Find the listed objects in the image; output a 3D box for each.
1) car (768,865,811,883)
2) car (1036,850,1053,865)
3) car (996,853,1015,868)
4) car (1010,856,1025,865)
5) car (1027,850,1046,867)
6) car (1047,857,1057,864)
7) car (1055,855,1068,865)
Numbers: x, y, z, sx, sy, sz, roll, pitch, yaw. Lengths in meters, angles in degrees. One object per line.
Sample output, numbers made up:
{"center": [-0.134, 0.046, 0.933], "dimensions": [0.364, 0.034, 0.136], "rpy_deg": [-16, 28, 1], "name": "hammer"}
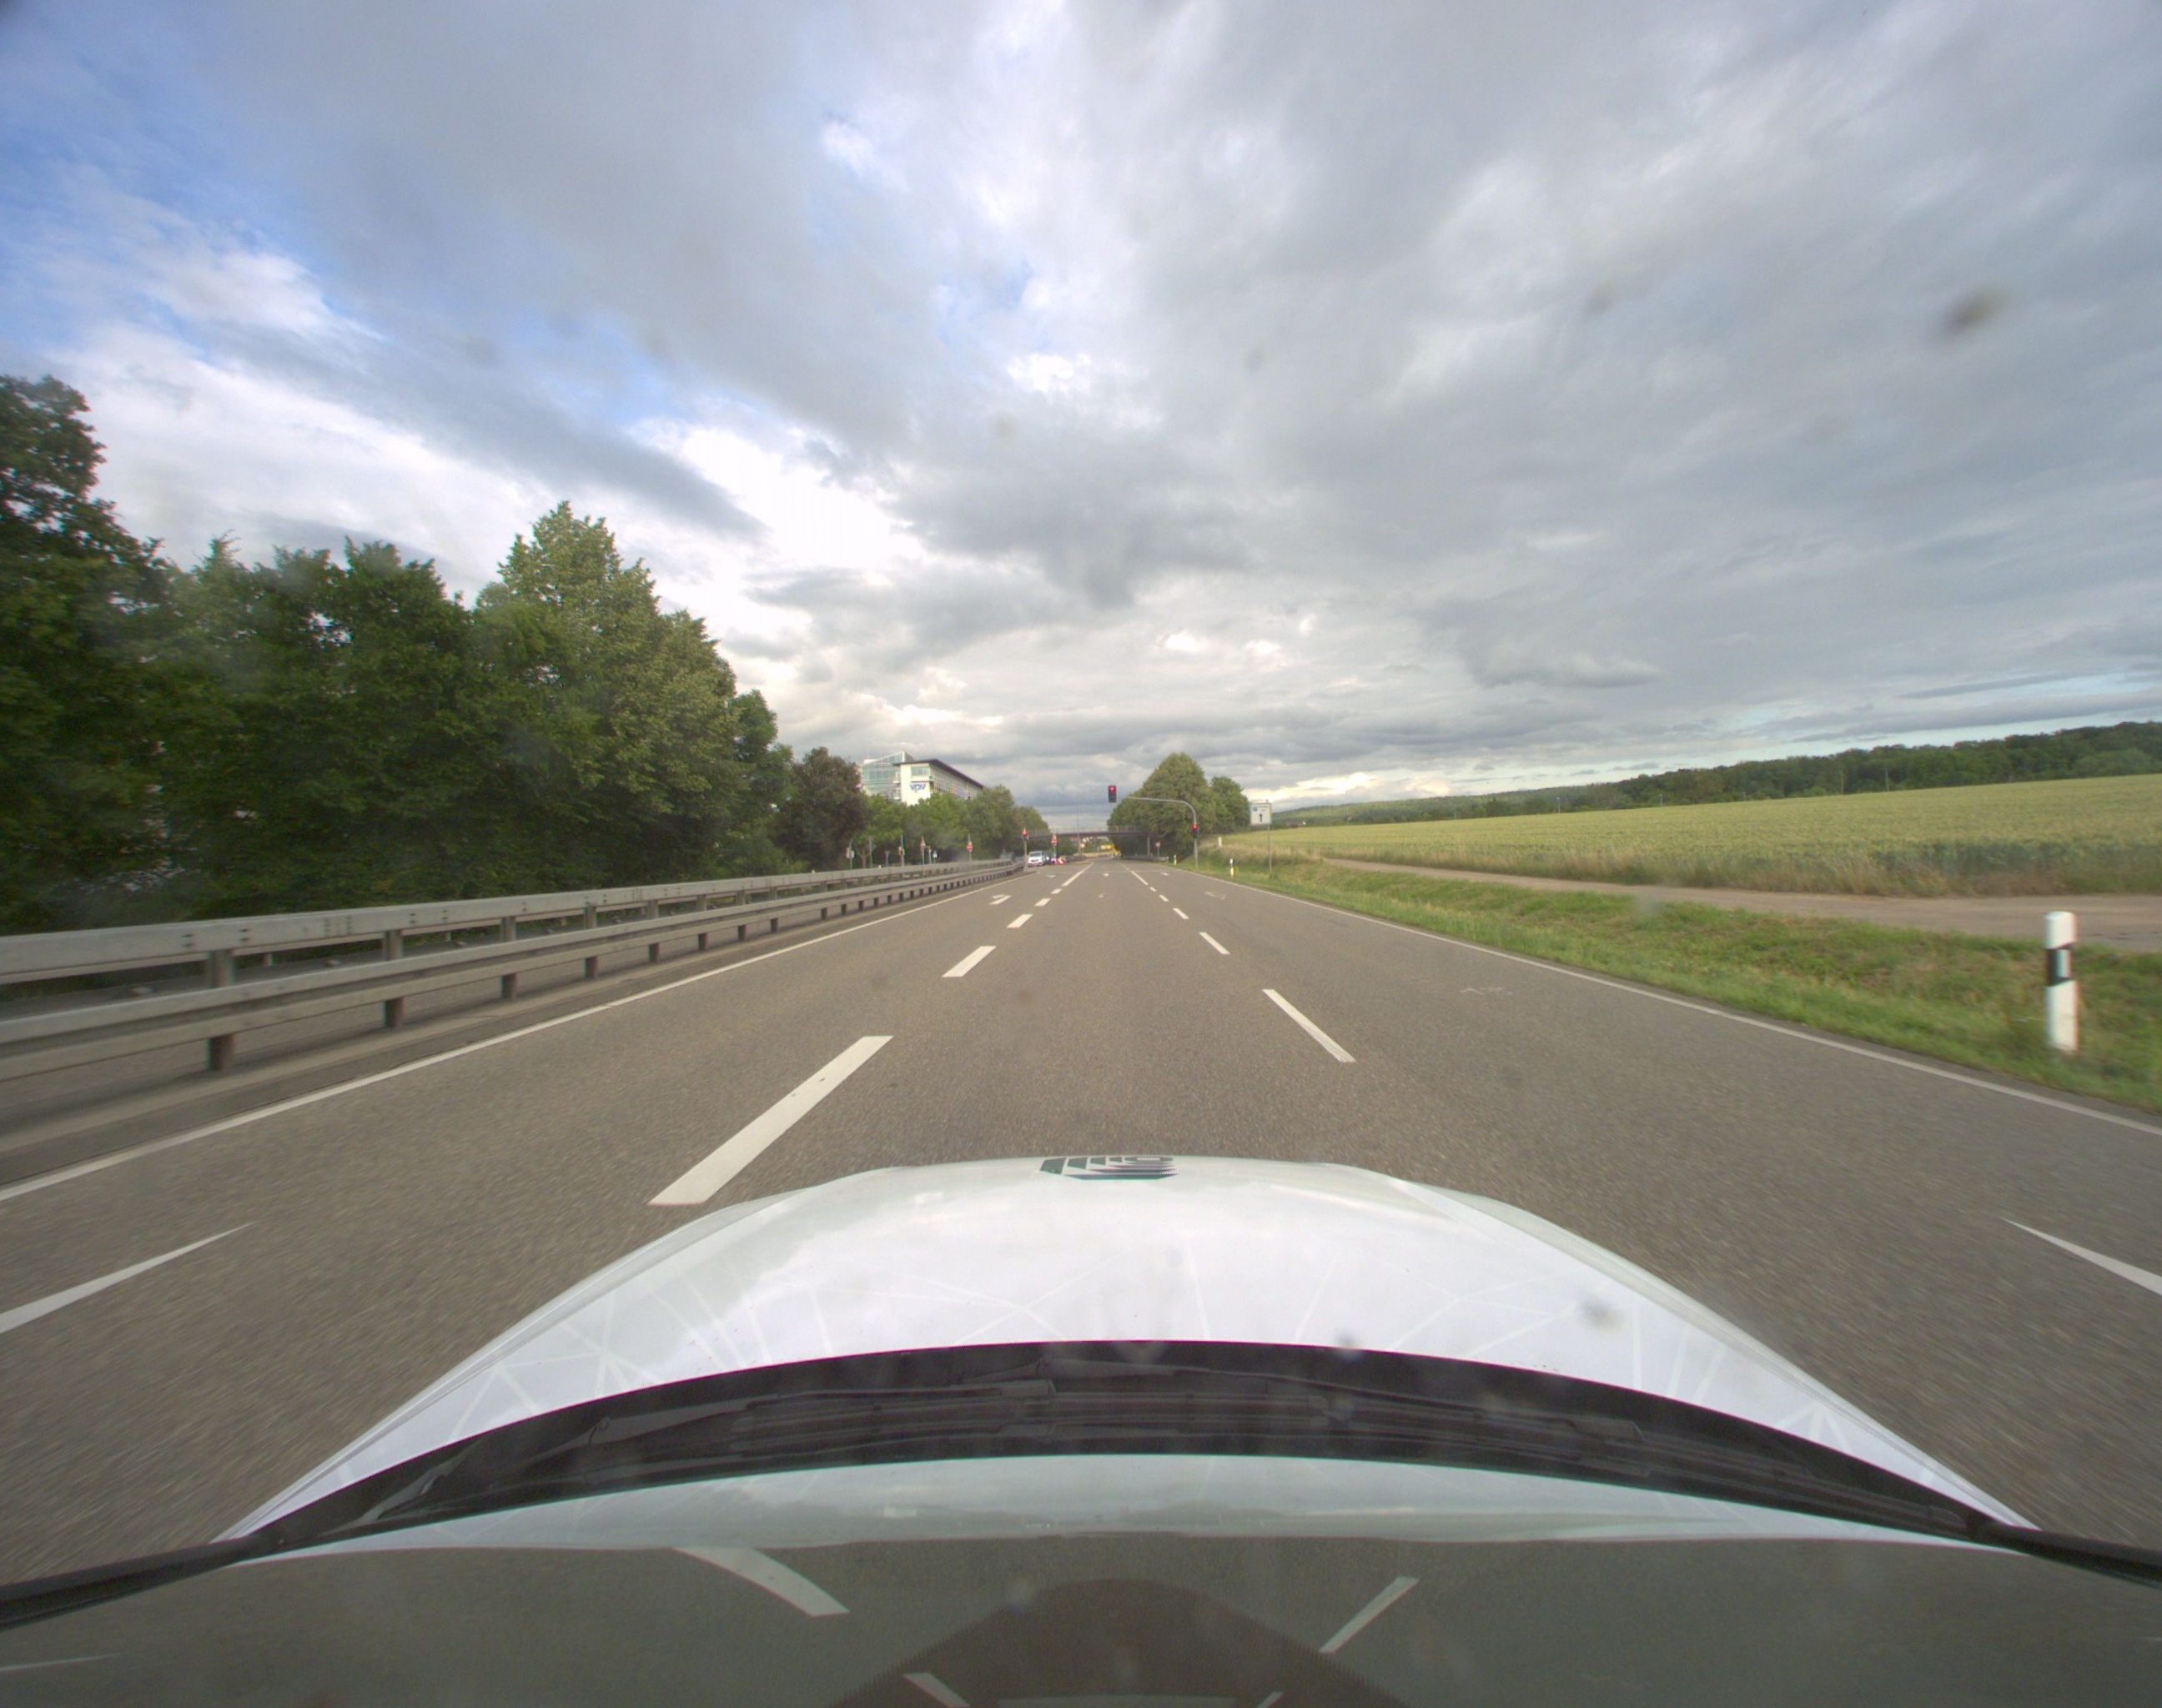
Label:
{"center": [-28.764, 1.977, 80.480], "dimensions": [3.712, 1.539, 1.727], "rpy_deg": [-2, 0, -11], "name": "car"}
{"center": [-4.960, 0.417, 111.536], "dimensions": [1.986, 1.873, 4.739], "rpy_deg": [-2, 1, 2], "name": "car"}
{"center": [-9.426, 0.812, 102.272], "dimensions": [1.862, 1.754, 4.051], "rpy_deg": [-2, 1, 2], "name": "car"}
{"center": [-8.554, 0.849, 109.533], "dimensions": [1.607, 1.178, 3.459], "rpy_deg": [-2, 1, 2], "name": "car"}
{"center": [-5.528, 0.541, 102.389], "dimensions": [1.941, 1.873, 4.739], "rpy_deg": [-2, 1, 2], "name": "car"}
{"center": [-4.296, 1.021, 122.214], "dimensions": [1.308, 0.987, 2.922], "rpy_deg": [-2, 1, 1], "name": "car"}
{"center": [-2.336, 0.691, 100.320], "dimensions": [1.352, 1.092, 2.924], "rpy_deg": [-2, 1, 3], "name": "car"}
